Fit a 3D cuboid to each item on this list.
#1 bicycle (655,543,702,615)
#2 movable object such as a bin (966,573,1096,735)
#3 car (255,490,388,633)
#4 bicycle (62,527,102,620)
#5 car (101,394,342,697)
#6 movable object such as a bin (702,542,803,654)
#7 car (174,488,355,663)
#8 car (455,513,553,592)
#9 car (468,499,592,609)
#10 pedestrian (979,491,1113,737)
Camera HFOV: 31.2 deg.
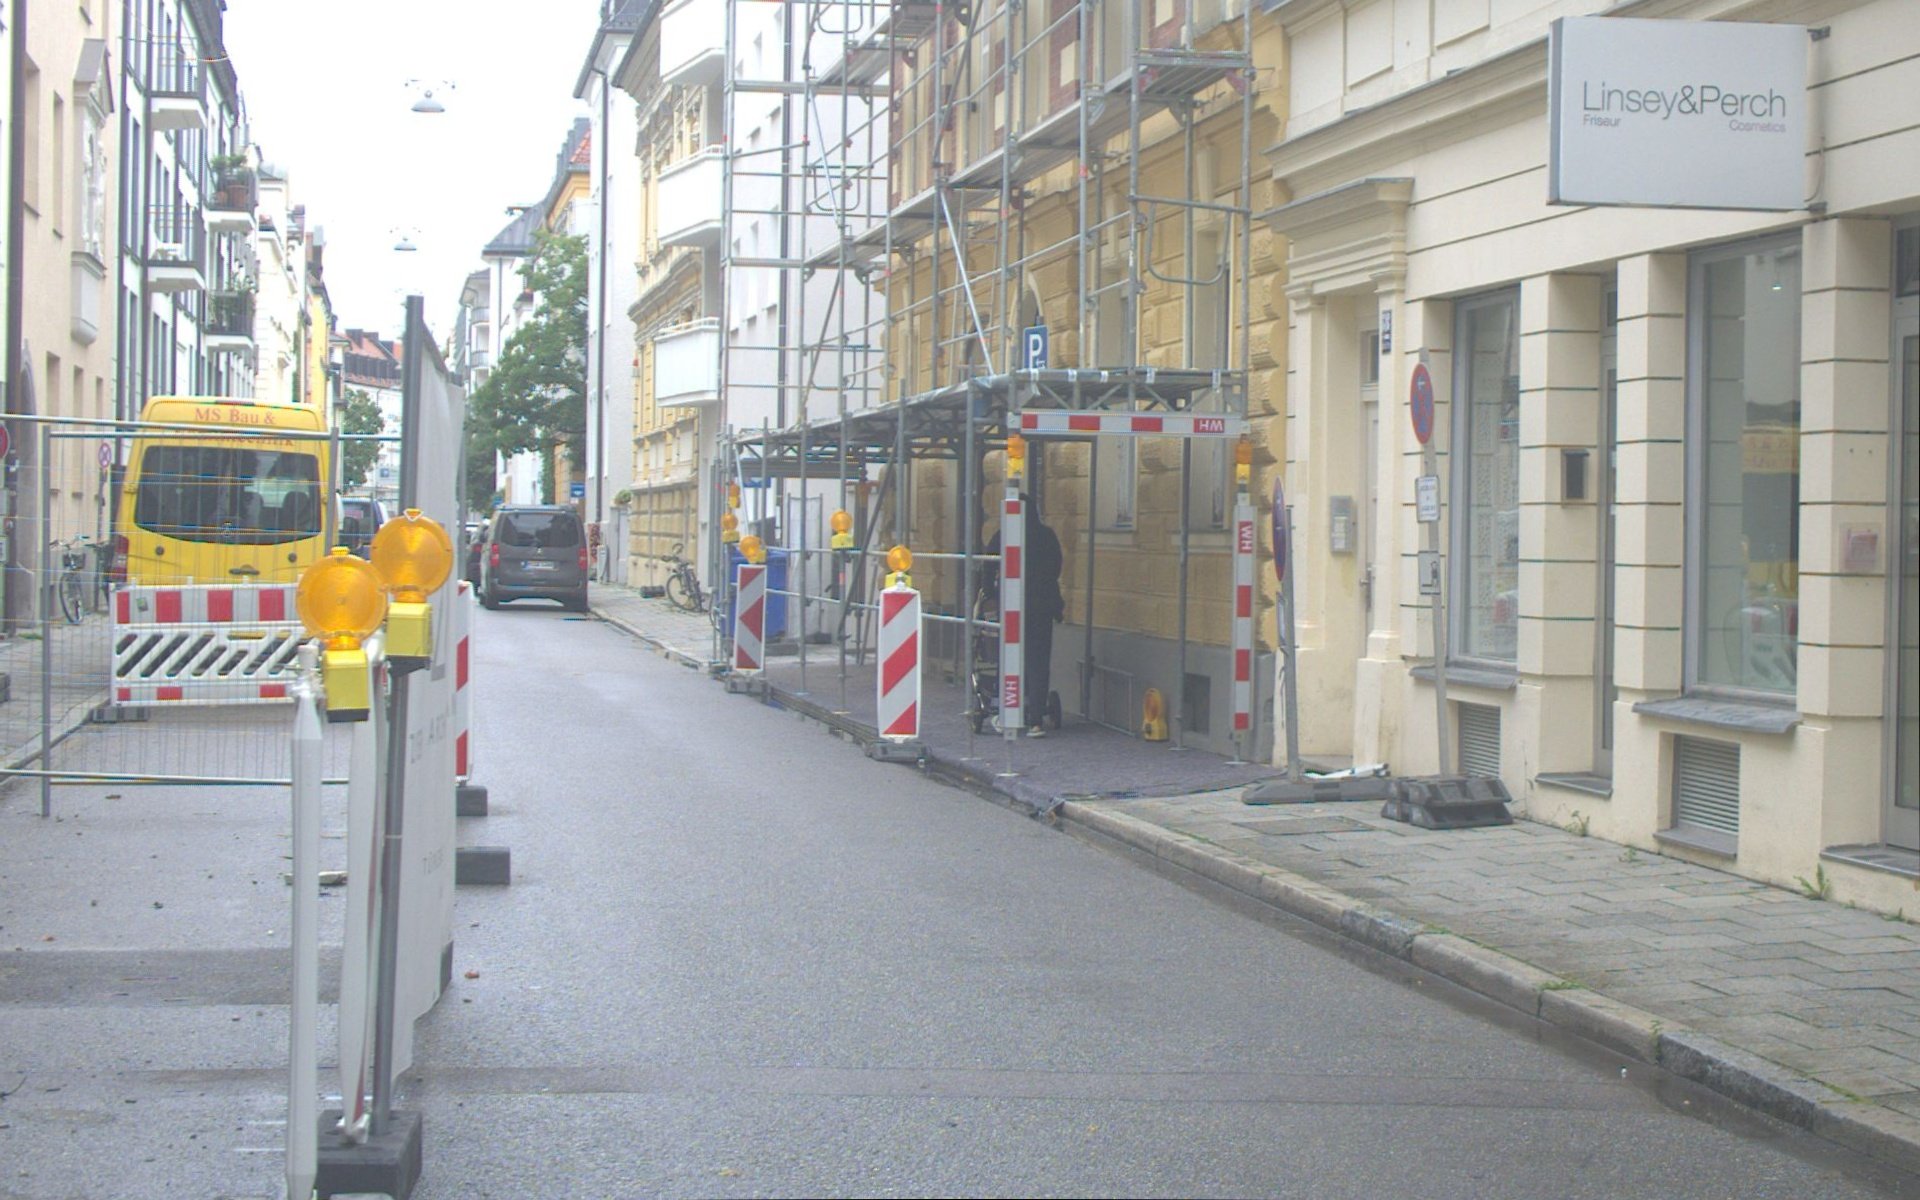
[{"bbox_3d":[-4.813,-0.363,58.647,0.638,1.149,1.916,-2,2,-9],"label":"bicycle"},{"bbox_3d":[0.526,0.396,25.826,0.729,1.137,0.988,-3,2,-10],"label":"movable object such as a bin"},{"bbox_3d":[-8.963,-0.568,48.495,1.727,1.891,5.510,-1,1,-10],"label":"car"},{"bbox_3d":[-12.047,-0.380,47.145,0.381,1.184,2.137,2,2,-17],"label":"bicycle"},{"bbox_3d":[-6.920,-0.535,32.770,1.993,2.570,6.739,1,1,-10],"label":"car"},{"bbox_3d":[-2.607,-0.041,43.285,1.086,1.341,1.317,-2,2,3],"label":"movable object such as a bin"},{"bbox_3d":[-8.026,-0.317,39.840,1.916,1.891,4.792,-1,1,-11],"label":"car"},{"bbox_3d":[-9.937,-1.062,74.739,1.893,1.635,4.323,1,1,-10],"label":"car"},{"bbox_3d":[-8.186,-0.894,65.104,1.993,1.925,4.661,2,1,-10],"label":"car"},{"bbox_3d":[0.623,0.087,25.284,0.729,1.746,0.988,-3,2,-10],"label":"pedestrian"}]
